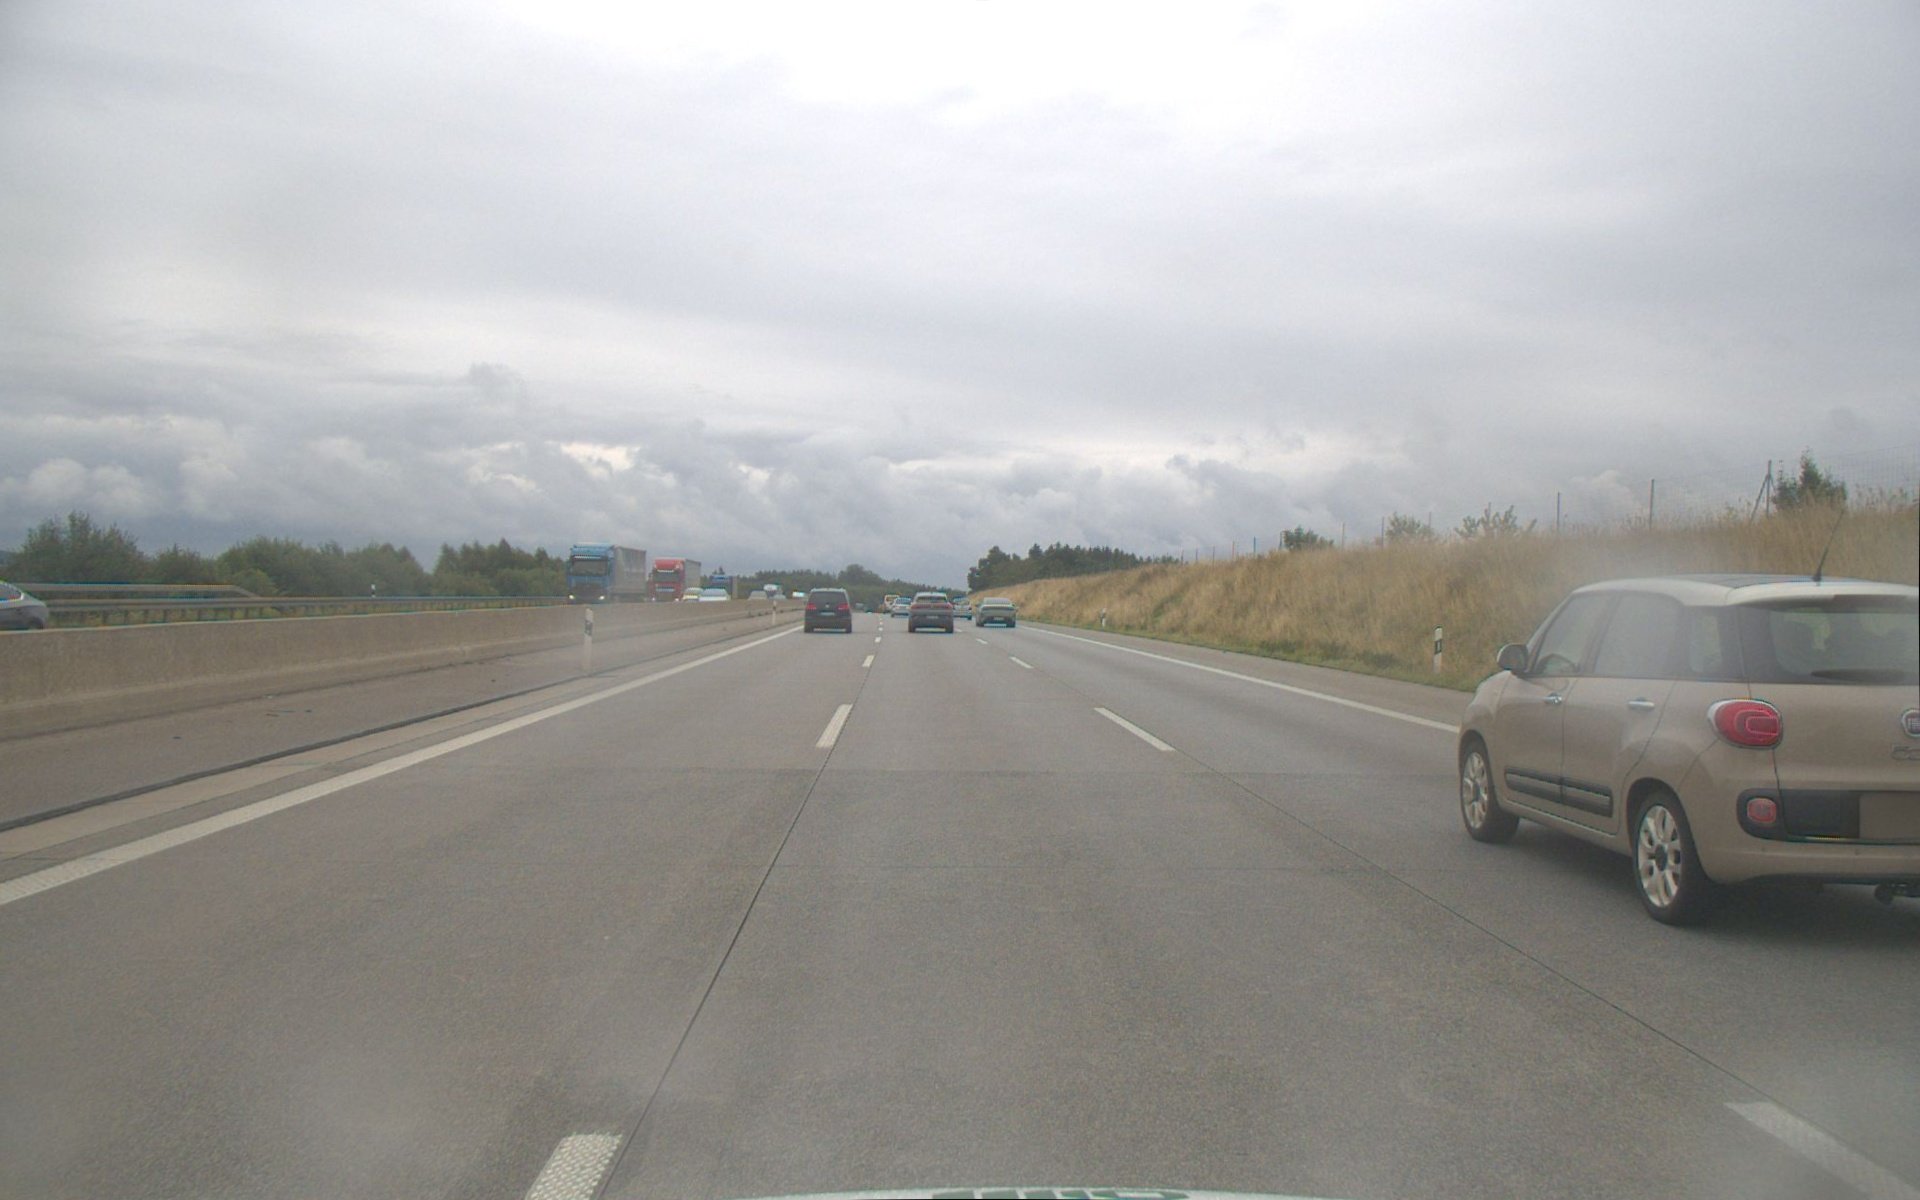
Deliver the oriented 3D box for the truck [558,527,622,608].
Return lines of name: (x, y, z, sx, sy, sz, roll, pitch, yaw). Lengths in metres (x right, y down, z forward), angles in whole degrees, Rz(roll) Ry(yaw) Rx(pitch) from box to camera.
truck: (-22.414, -1.951, 100.498, 2.869, 4.758, 5.230, 1, 0, -3)

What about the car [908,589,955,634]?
car: (-1.205, 0.442, 68.242, 1.859, 1.719, 5.264, 1, 0, -2)

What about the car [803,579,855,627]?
car: (-5.090, 0.113, 64.683, 1.749, 1.777, 3.914, 1, 0, -1)

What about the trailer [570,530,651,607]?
trailer: (-22.700, -1.983, 108.228, 2.857, 4.706, 13.631, 1, 0, -2)

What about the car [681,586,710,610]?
car: (-19.534, -0.157, 122.320, 1.582, 1.680, 4.293, 1, 0, -2)

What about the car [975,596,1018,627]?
car: (1.835, 0.567, 84.520, 1.973, 1.471, 4.744, 1, 0, -1)

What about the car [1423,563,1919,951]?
car: (4.169, 0.661, 9.312, 1.749, 1.633, 4.570, 1, 0, -1)

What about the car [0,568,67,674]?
car: (-15.267, 0.304, 24.621, 1.596, 1.593, 4.409, 1, 0, -1)

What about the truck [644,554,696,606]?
truck: (-24.475, -1.705, 140.006, 3.400, 4.255, 6.490, 1, 0, -2)

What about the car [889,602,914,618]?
car: (-4.442, 0.766, 126.320, 1.761, 1.143, 4.000, 1, 0, 0)

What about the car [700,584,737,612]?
car: (-14.802, -0.142, 101.438, 1.664, 1.643, 4.718, 1, 0, -1)

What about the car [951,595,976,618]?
car: (0.242, 0.468, 116.071, 1.456, 1.496, 3.502, 4, 0, -3)

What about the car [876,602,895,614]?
car: (-7.947, 0.821, 176.796, 1.761, 1.243, 4.000, 1, 0, 0)
